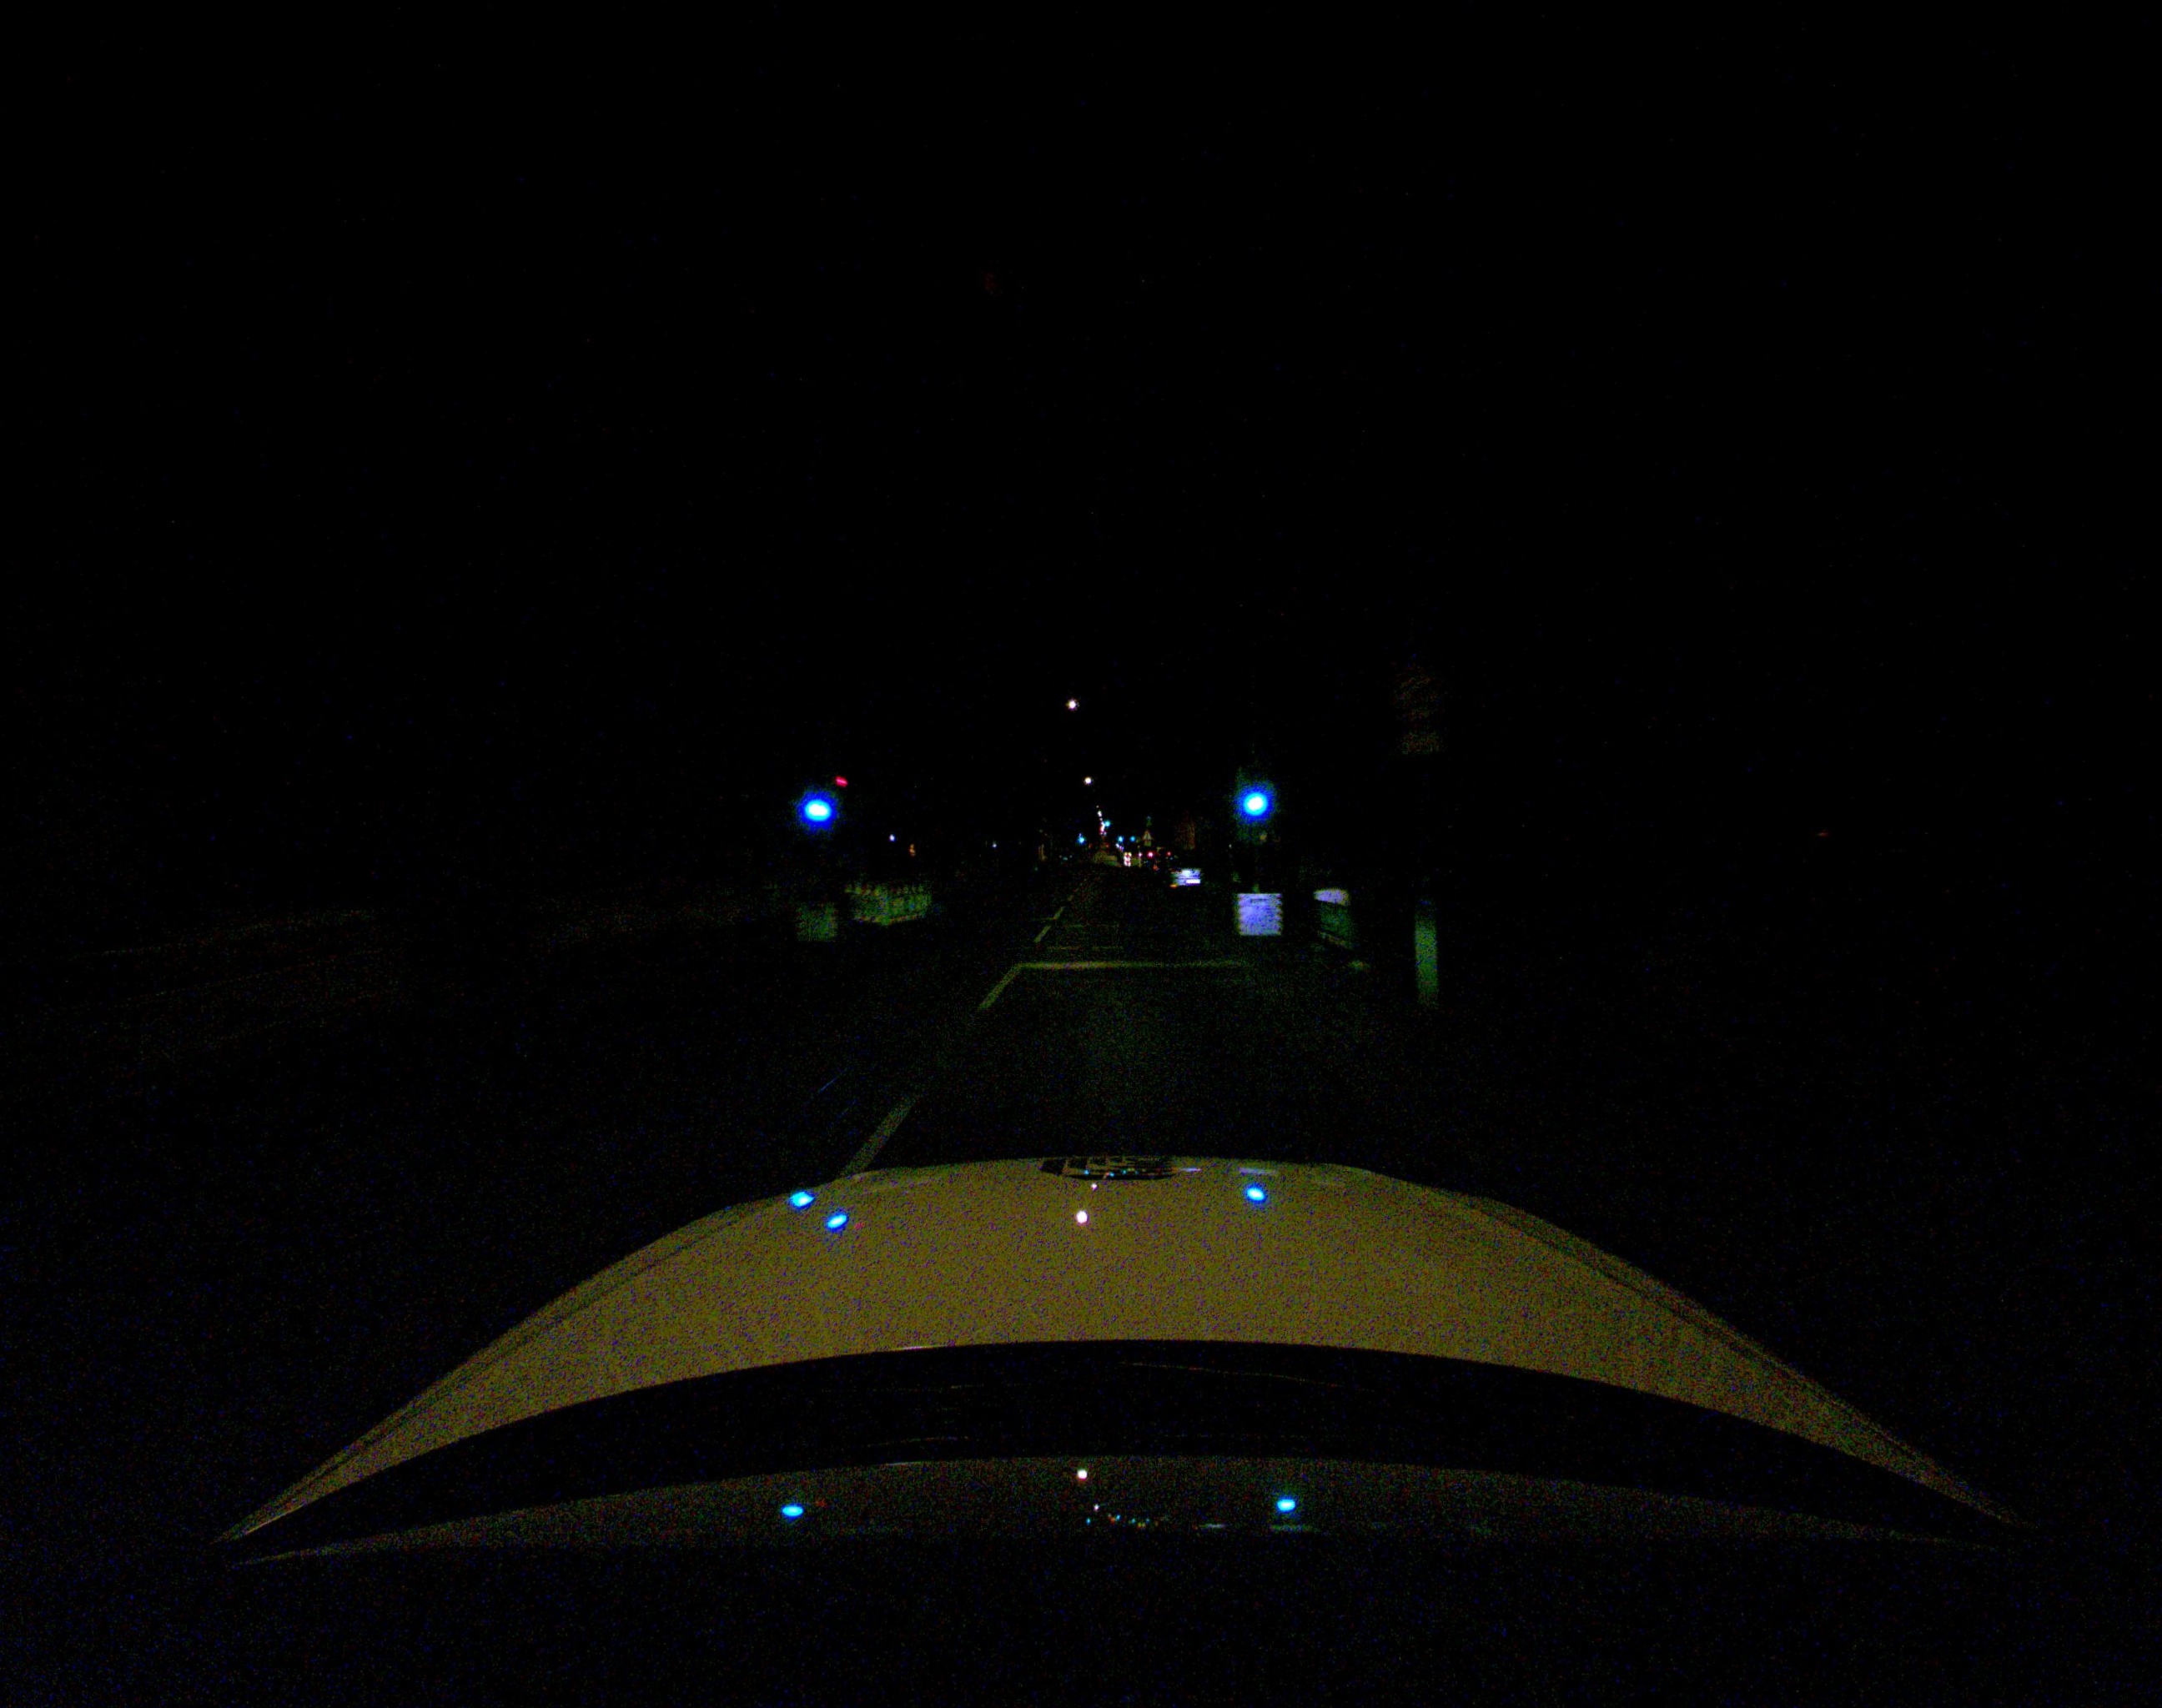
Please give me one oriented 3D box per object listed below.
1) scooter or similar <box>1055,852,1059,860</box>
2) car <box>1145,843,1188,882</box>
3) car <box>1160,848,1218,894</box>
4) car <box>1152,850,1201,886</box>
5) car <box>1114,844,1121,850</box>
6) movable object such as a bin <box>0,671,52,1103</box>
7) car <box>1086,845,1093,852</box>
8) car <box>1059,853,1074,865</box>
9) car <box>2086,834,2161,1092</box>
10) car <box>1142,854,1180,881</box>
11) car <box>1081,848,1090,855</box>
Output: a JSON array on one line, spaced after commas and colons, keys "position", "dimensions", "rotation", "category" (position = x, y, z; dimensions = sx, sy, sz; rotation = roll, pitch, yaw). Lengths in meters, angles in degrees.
[{"position": [-4.000, 0.313, 134.774], "dimensions": [0.526, 1.165, 2.508], "rotation": [-2, -1, 1], "category": "scooter or similar"}, {"position": [4.283, 0.404, 41.509], "dimensions": [1.730, 1.855, 4.316], "rotation": [-1, 0, 0], "category": "car"}, {"position": [3.960, 0.594, 30.358], "dimensions": [1.733, 1.477, 4.002], "rotation": [-3, 0, 2], "category": "car"}, {"position": [4.101, 0.595, 35.509], "dimensions": [1.679, 1.421, 4.445], "rotation": [-2, 0, 2], "category": "car"}, {"position": [10.233, -2.065, 231.118], "dimensions": [1.866, 1.544, 4.206], "rotation": [-1, 0, 2], "category": "car"}, {"position": [-7.452, 0.207, 3.260], "dimensions": [1.565, 2.627, 3.912], "rotation": [-2, 0, 3], "category": "movable object such as a bin"}, {"position": [2.469, -1.654, 242.555], "dimensions": [1.866, 1.814, 4.206], "rotation": [-1, 0, 2], "category": "car"}, {"position": [-1.913, 0.672, 108.738], "dimensions": [1.665, 1.443, 4.206], "rotation": [-1, 0, 2], "category": "car"}, {"position": [7.952, 0.544, 3.887], "dimensions": [4.001, 1.422, 1.851], "rotation": [-1, -2, 0], "category": "car"}, {"position": [4.510, 0.732, 46.545], "dimensions": [1.722, 1.419, 4.322], "rotation": [-1, 0, -1], "category": "car"}, {"position": [1.072, -0.617, 180.775], "dimensions": [1.866, 1.544, 4.206], "rotation": [-1, 0, 2], "category": "car"}]
